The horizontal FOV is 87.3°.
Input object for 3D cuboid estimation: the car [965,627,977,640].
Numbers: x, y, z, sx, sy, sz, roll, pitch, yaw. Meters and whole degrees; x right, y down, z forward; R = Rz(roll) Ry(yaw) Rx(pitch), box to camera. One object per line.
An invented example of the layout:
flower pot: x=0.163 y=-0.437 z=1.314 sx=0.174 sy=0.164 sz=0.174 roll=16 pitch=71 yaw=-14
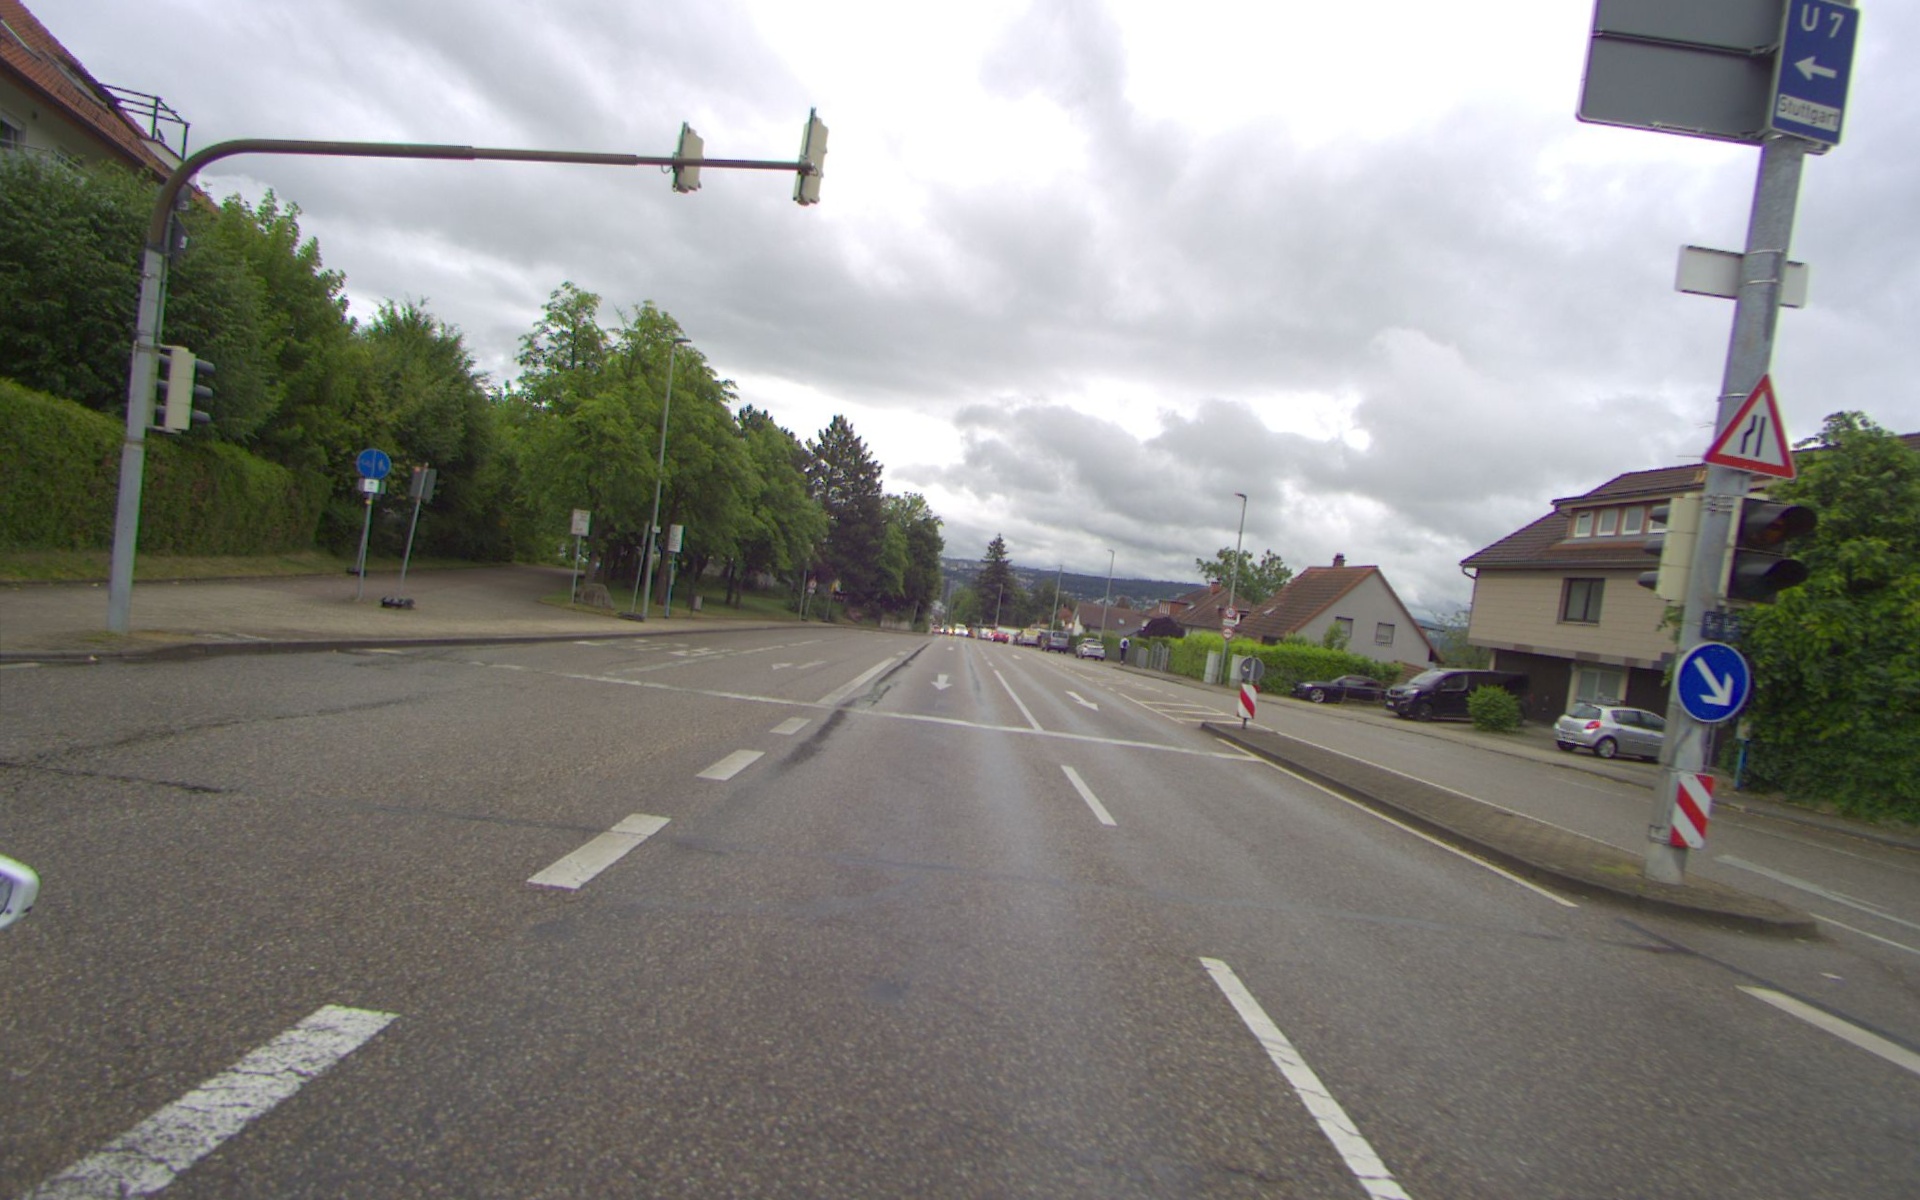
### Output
car: x=1.822 y=5.523 z=165.194 sx=1.770 sy=1.804 sz=4.001 roll=8 pitch=-1 yaw=0

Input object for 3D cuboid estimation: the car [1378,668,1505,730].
car: x=17.267 y=3.538 z=36.190 sx=3.574 sy=1.646 sz=1.791 roll=7 pitch=-1 yaw=-4

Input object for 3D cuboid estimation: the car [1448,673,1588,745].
car: x=18.606 y=3.618 z=33.664 sx=3.574 sy=1.768 sz=1.707 roll=8 pitch=0 yaw=-3

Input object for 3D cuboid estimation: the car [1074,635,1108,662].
car: x=9.601 y=3.503 z=73.859 sx=1.823 sy=1.592 sz=4.001 roll=9 pitch=-1 yaw=1

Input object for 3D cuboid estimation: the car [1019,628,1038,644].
car: x=7.975 y=4.178 z=116.845 sx=1.822 sy=1.593 sz=4.001 roll=7 pitch=-1 yaw=1

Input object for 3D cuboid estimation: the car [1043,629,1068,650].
car: x=8.713 y=3.617 z=92.166 sx=1.822 sy=1.593 sz=4.001 roll=8 pitch=-1 yaw=1

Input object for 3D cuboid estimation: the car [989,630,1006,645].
car: x=4.488 y=4.474 z=120.630 sx=1.728 sy=1.593 sz=4.001 roll=7 pitch=-1 yaw=1

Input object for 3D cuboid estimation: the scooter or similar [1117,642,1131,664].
scooter or similar: x=10.781 y=3.489 z=66.352 sx=0.454 sy=1.377 sz=1.384 roll=8 pitch=-1 yaw=-3

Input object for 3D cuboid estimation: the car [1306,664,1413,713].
car: x=16.315 y=3.589 z=41.160 sx=3.633 sy=1.384 sz=1.520 roll=9 pitch=-2 yaw=-1

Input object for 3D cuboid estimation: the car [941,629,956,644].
car: x=-1.592 y=5.101 z=140.436 sx=1.816 sy=1.737 sz=4.002 roll=8 pitch=-1 yaw=1

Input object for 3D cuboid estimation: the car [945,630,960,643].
car: x=-1.105 y=5.380 z=148.448 sx=1.816 sy=1.737 sz=4.002 roll=8 pitch=-1 yaw=1

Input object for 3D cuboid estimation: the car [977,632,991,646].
car: x=3.227 y=5.298 z=135.895 sx=1.712 sy=1.593 sz=4.001 roll=7 pitch=-1 yaw=1

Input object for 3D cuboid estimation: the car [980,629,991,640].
car: x=4.218 y=5.744 z=167.797 sx=1.712 sy=1.593 sz=4.001 roll=7 pitch=-1 yaw=1

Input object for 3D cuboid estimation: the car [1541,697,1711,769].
car: x=18.717 y=3.736 z=28.343 sx=3.661 sy=1.411 sz=1.728 roll=8 pitch=-2 yaw=-7

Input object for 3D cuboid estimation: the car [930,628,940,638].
car: x=-5.341 y=7.161 z=218.521 sx=1.858 sy=1.815 sz=4.000 roll=8 pitch=-1 yaw=0

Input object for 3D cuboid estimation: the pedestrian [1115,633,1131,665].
pedestrian: x=10.758 y=3.242 z=66.400 sx=0.646 sy=2.026 sz=0.717 roll=8 pitch=0 yaw=-3
